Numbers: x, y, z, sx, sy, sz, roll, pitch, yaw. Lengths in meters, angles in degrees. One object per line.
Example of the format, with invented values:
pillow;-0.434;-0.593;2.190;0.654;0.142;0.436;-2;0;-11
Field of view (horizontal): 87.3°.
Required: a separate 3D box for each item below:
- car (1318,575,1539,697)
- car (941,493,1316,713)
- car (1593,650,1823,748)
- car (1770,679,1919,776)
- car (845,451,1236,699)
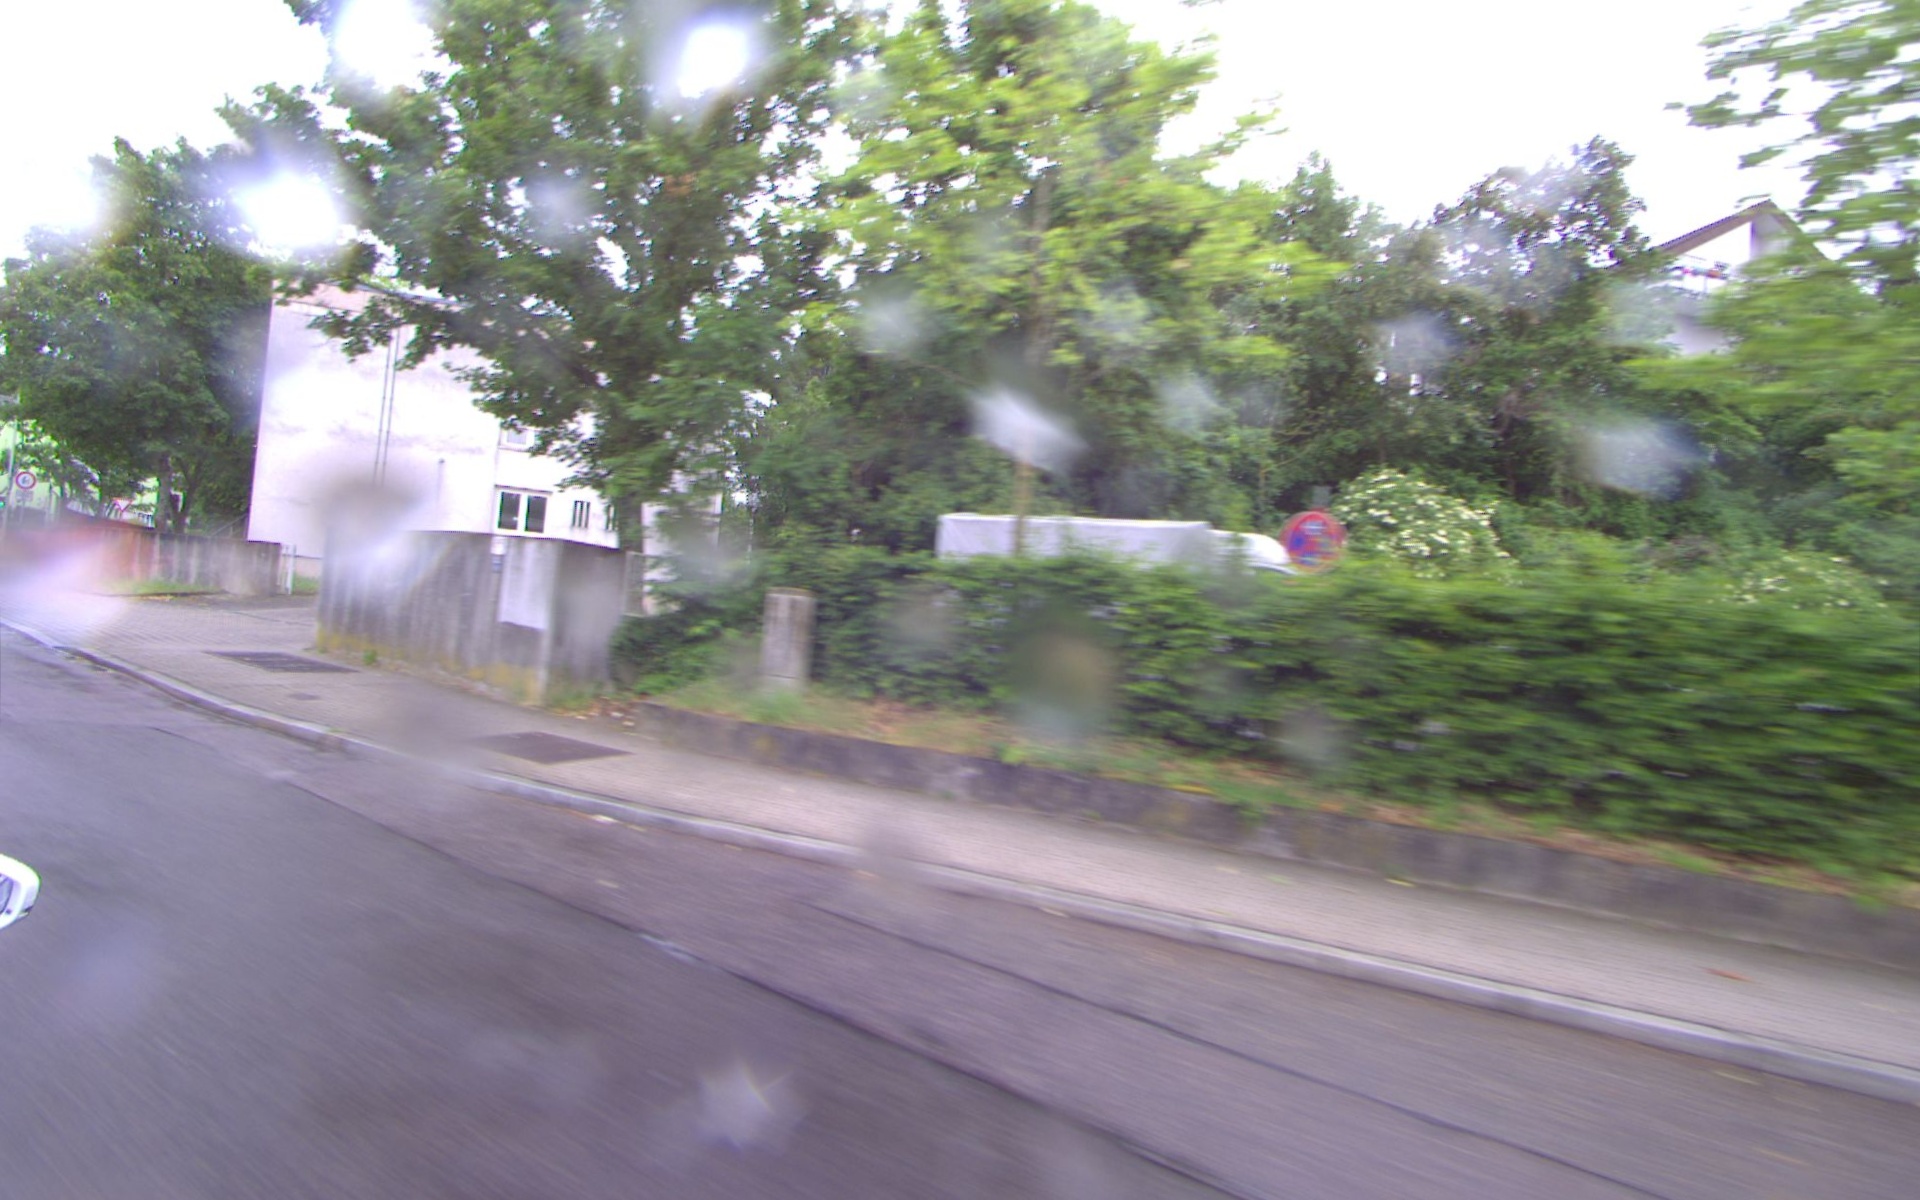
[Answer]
car;10.133;0.809;22.356;1.964;2.035;5.206;11;-3;-3
car;2.532;0.044;15.006;4.925;2.309;2.053;10;-1;21
car;16.893;2.168;23.020;1.772;1.683;4.181;11;-3;-3
car;20.679;2.873;22.259;1.772;1.788;4.181;11;-2;-3
car;1.007;-0.291;12.348;4.059;2.252;2.001;10;-1;24
